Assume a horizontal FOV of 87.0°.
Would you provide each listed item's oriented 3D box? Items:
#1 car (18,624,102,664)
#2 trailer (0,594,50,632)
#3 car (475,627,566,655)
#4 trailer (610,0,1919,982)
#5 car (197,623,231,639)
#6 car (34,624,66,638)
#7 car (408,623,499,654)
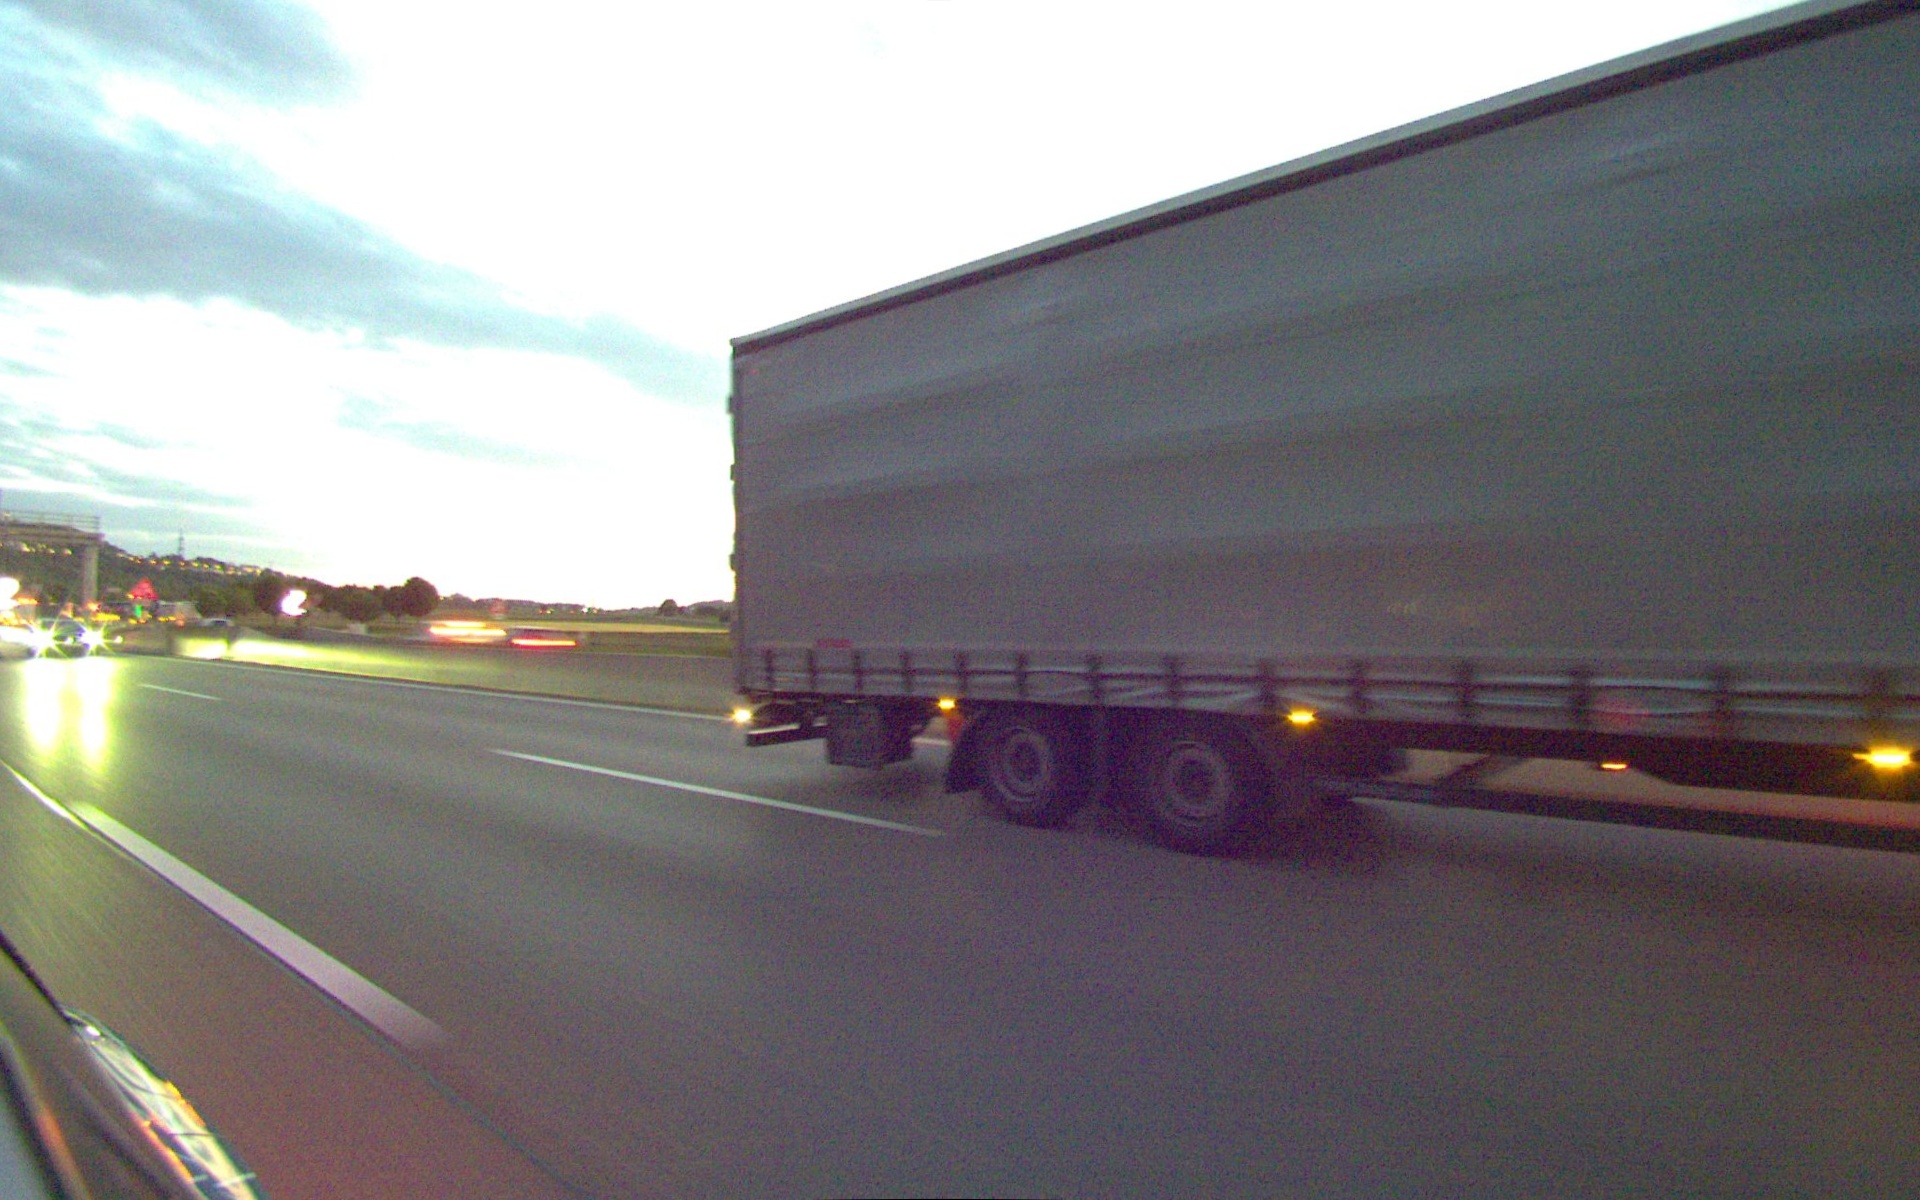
[{"bbox_3d":[-36.031,1.712,40.477,5.391,1.448,1.796,-1,0,41],"label":"car"},{"bbox_3d":[-152.504,2.022,164.098,19.205,5.829,5.248,-1,0,42],"label":"trailer"},{"bbox_3d":[-17.643,1.613,40.535,4.523,0.996,1.563,-1,0,41],"label":"car"},{"bbox_3d":[2.797,-0.557,6.509,14.519,4.116,2.764,-1,-2,42],"label":"trailer"},{"bbox_3d":[-60.972,2.548,82.746,3.608,1.200,1.520,-1,0,41],"label":"car"},{"bbox_3d":[-86.997,2.963,96.772,3.998,1.213,1.843,-1,0,42],"label":"car"},{"bbox_3d":[-17.924,1.339,35.749,3.564,0.996,1.675,-1,0,41],"label":"car"}]
